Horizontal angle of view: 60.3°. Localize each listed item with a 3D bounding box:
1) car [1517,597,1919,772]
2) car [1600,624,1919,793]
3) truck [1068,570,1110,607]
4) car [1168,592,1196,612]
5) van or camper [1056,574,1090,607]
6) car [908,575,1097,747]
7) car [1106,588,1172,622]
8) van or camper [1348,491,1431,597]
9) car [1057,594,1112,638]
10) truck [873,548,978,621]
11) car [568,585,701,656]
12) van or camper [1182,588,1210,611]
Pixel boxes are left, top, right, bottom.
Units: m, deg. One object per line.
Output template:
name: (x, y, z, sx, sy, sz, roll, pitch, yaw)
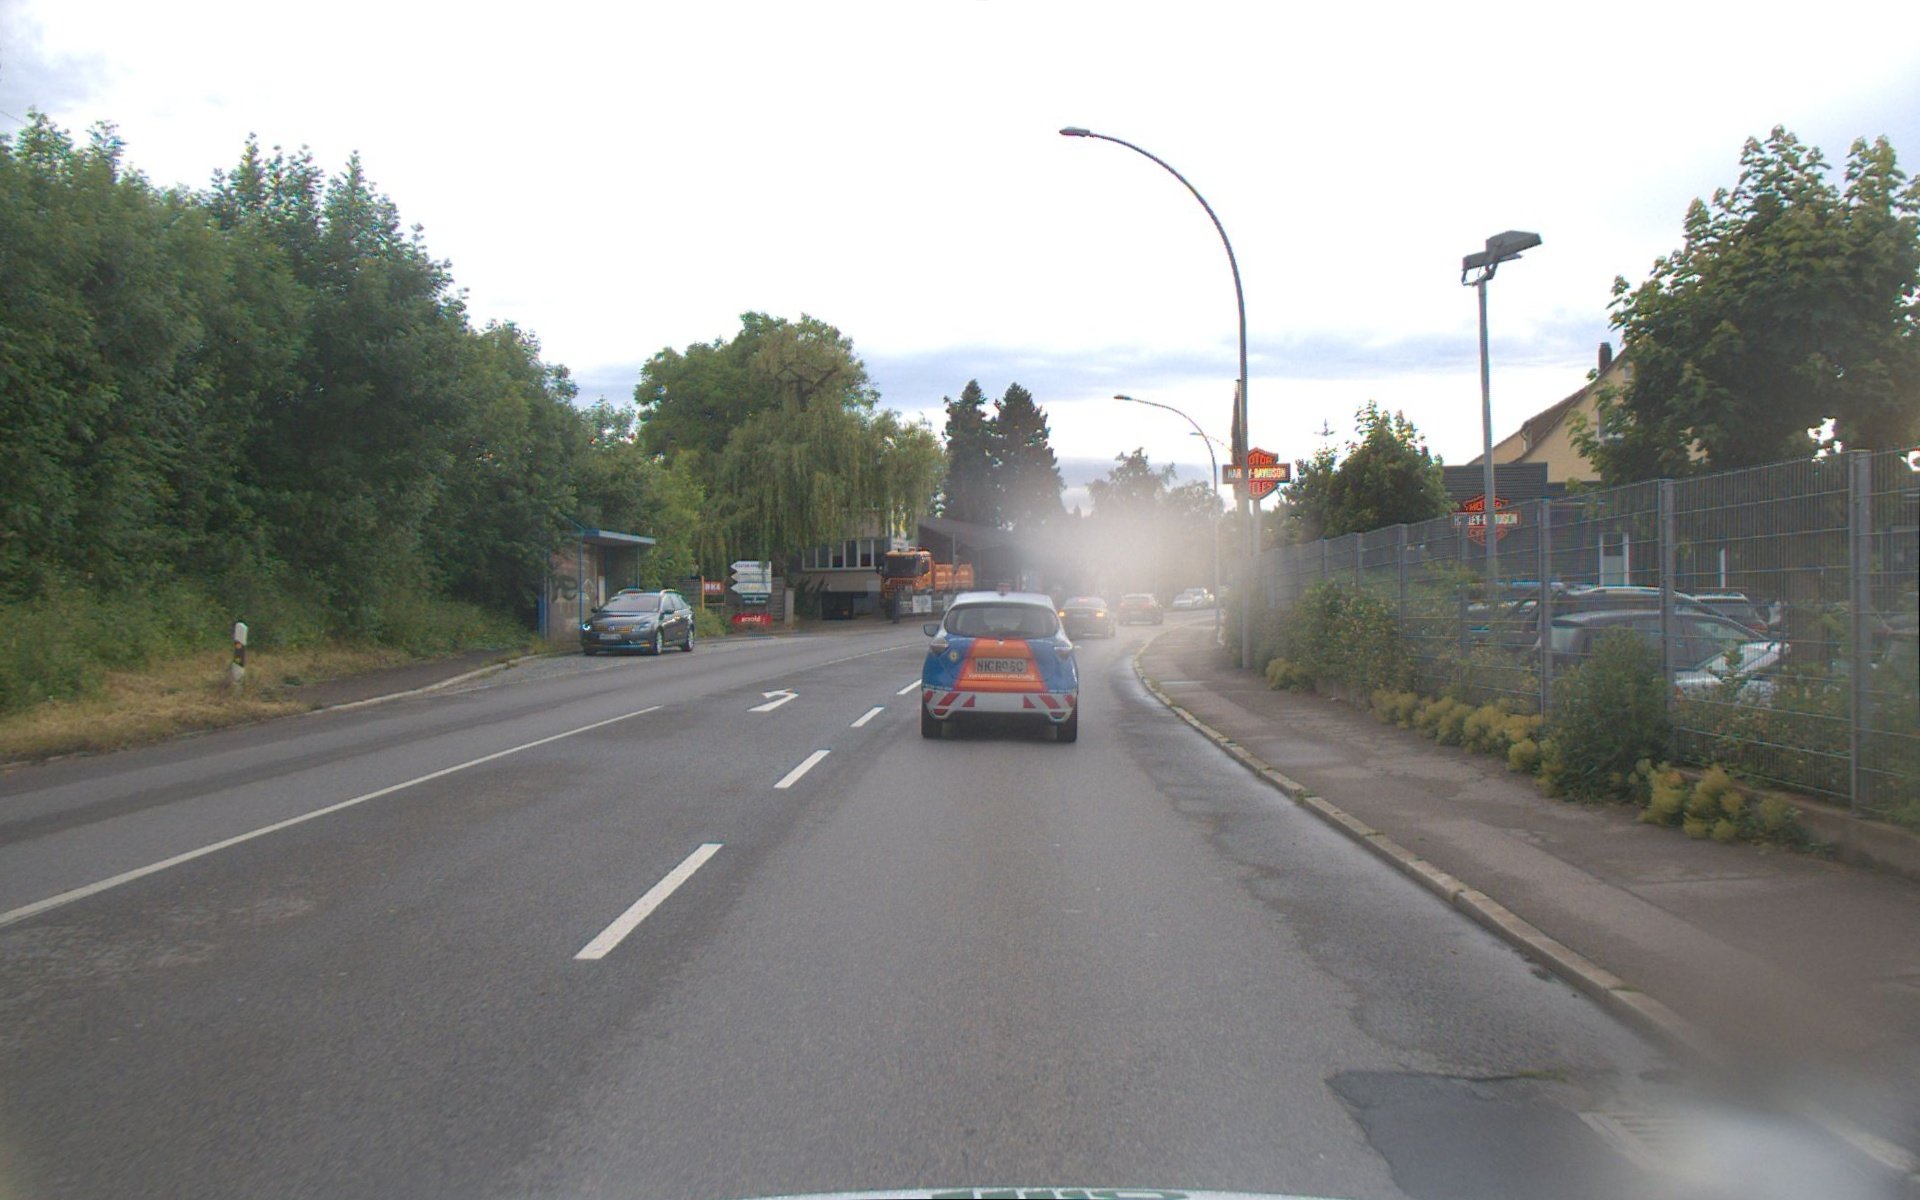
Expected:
car: (8.771, 0.959, 19.195, 4.055, 1.803, 1.616, 2, -1, 1)
car: (8.744, 1.089, 16.800, 3.822, 1.535, 1.680, 2, -1, 1)
truck: (11.066, -0.926, 141.179, 2.344, 2.978, 5.960, 2, 0, 16)
car: (19.075, 0.160, 142.244, 1.951, 1.673, 4.003, 0, 0, 14)
van or camper: (9.295, -0.775, 135.729, 1.820, 2.480, 5.237, 2, -1, 14)
car: (0.480, 0.619, 18.908, 1.850, 1.660, 4.001, 3, 0, 1)
car: (8.246, 0.231, 75.923, 1.953, 1.445, 4.000, -1, -1, 22)
van or camper: (11.686, -1.448, 45.151, 1.998, 2.638, 6.595, -1, 0, 14)
car: (4.238, 0.582, 56.609, 1.685, 1.400, 3.934, 2, -1, 2)
truck: (-1.732, -0.746, 88.642, 2.641, 3.471, 9.074, 2, -1, 19)
car: (-7.561, 0.516, 38.946, 1.952, 1.500, 4.701, 2, -1, 3)
van or camper: (21.199, -0.072, 148.420, 1.850, 2.049, 5.101, 0, 0, 16)
